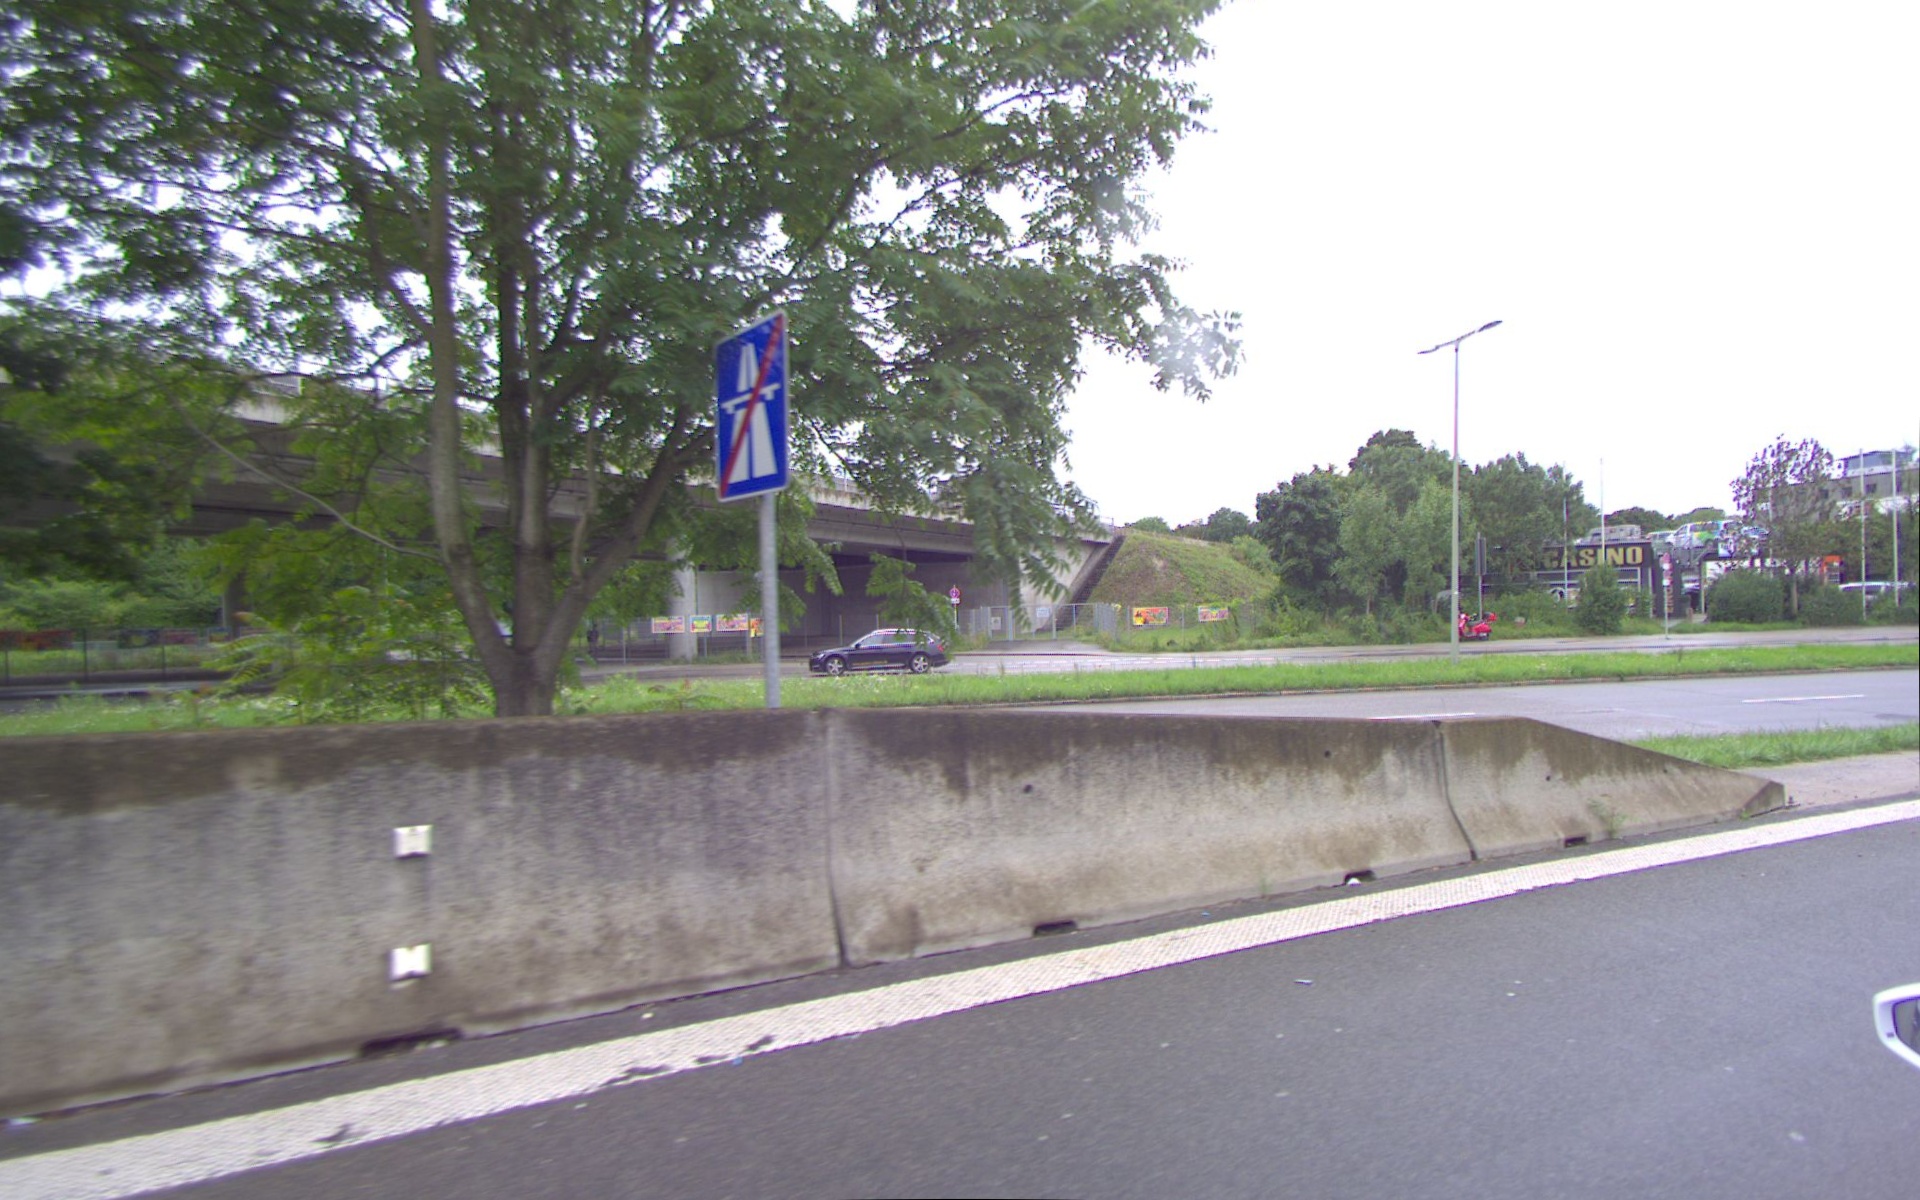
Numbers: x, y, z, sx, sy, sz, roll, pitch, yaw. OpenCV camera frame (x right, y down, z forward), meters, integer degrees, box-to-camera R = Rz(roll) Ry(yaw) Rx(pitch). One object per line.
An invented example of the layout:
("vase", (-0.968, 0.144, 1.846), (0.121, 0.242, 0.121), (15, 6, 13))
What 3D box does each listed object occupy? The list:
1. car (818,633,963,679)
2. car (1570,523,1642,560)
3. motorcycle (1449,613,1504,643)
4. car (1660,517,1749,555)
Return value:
("car", (-2.384, 1.849, 33.931), (4.728, 1.415, 1.973), (-1, -1, -8))
("car", (50.636, -4.536, 78.861), (2.095, 2.400, 4.793), (1, -3, -8))
("motorcycle", (21.964, 1.173, 42.705), (2.156, 1.192, 0.534), (-2, 0, -10))
("car", (50.579, -4.331, 68.378), (2.095, 2.040, 4.793), (1, -3, -8))
